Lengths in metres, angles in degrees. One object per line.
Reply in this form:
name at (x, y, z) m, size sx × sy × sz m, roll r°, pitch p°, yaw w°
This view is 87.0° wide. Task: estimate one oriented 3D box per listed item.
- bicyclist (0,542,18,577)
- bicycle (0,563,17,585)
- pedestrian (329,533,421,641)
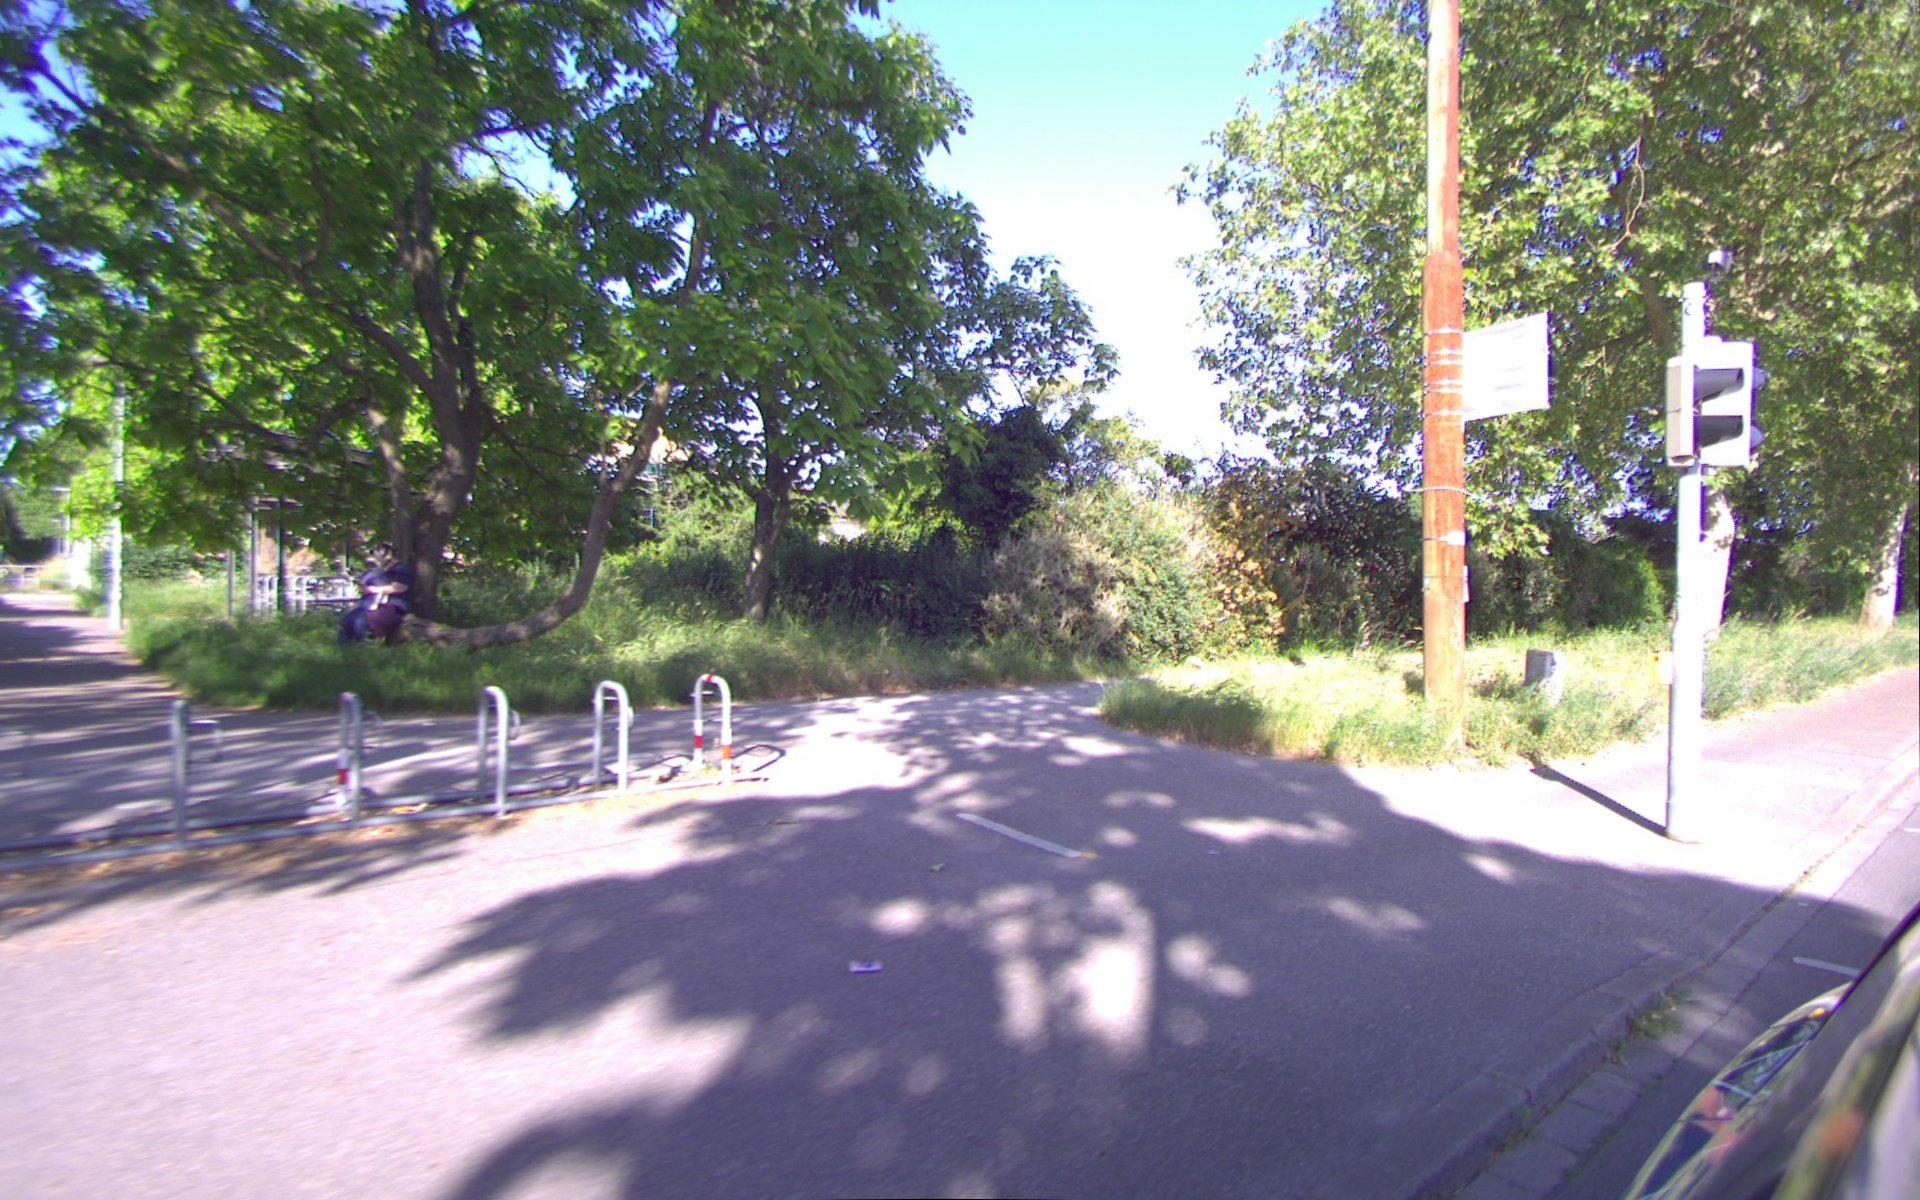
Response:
bicyclist at (-39.676, -1.678, 41.899) m, size 0.917 × 1.444 × 0.890 m, roll 0°, pitch 0°, yaw -41°
bicycle at (-39.721, -1.057, 41.901) m, size 0.899 × 0.842 × 2.033 m, roll 0°, pitch 0°, yaw -41°
pedestrian at (-6.954, -0.151, 12.041) m, size 0.729 × 1.235 × 0.683 m, roll -1°, pitch -1°, yaw 29°
